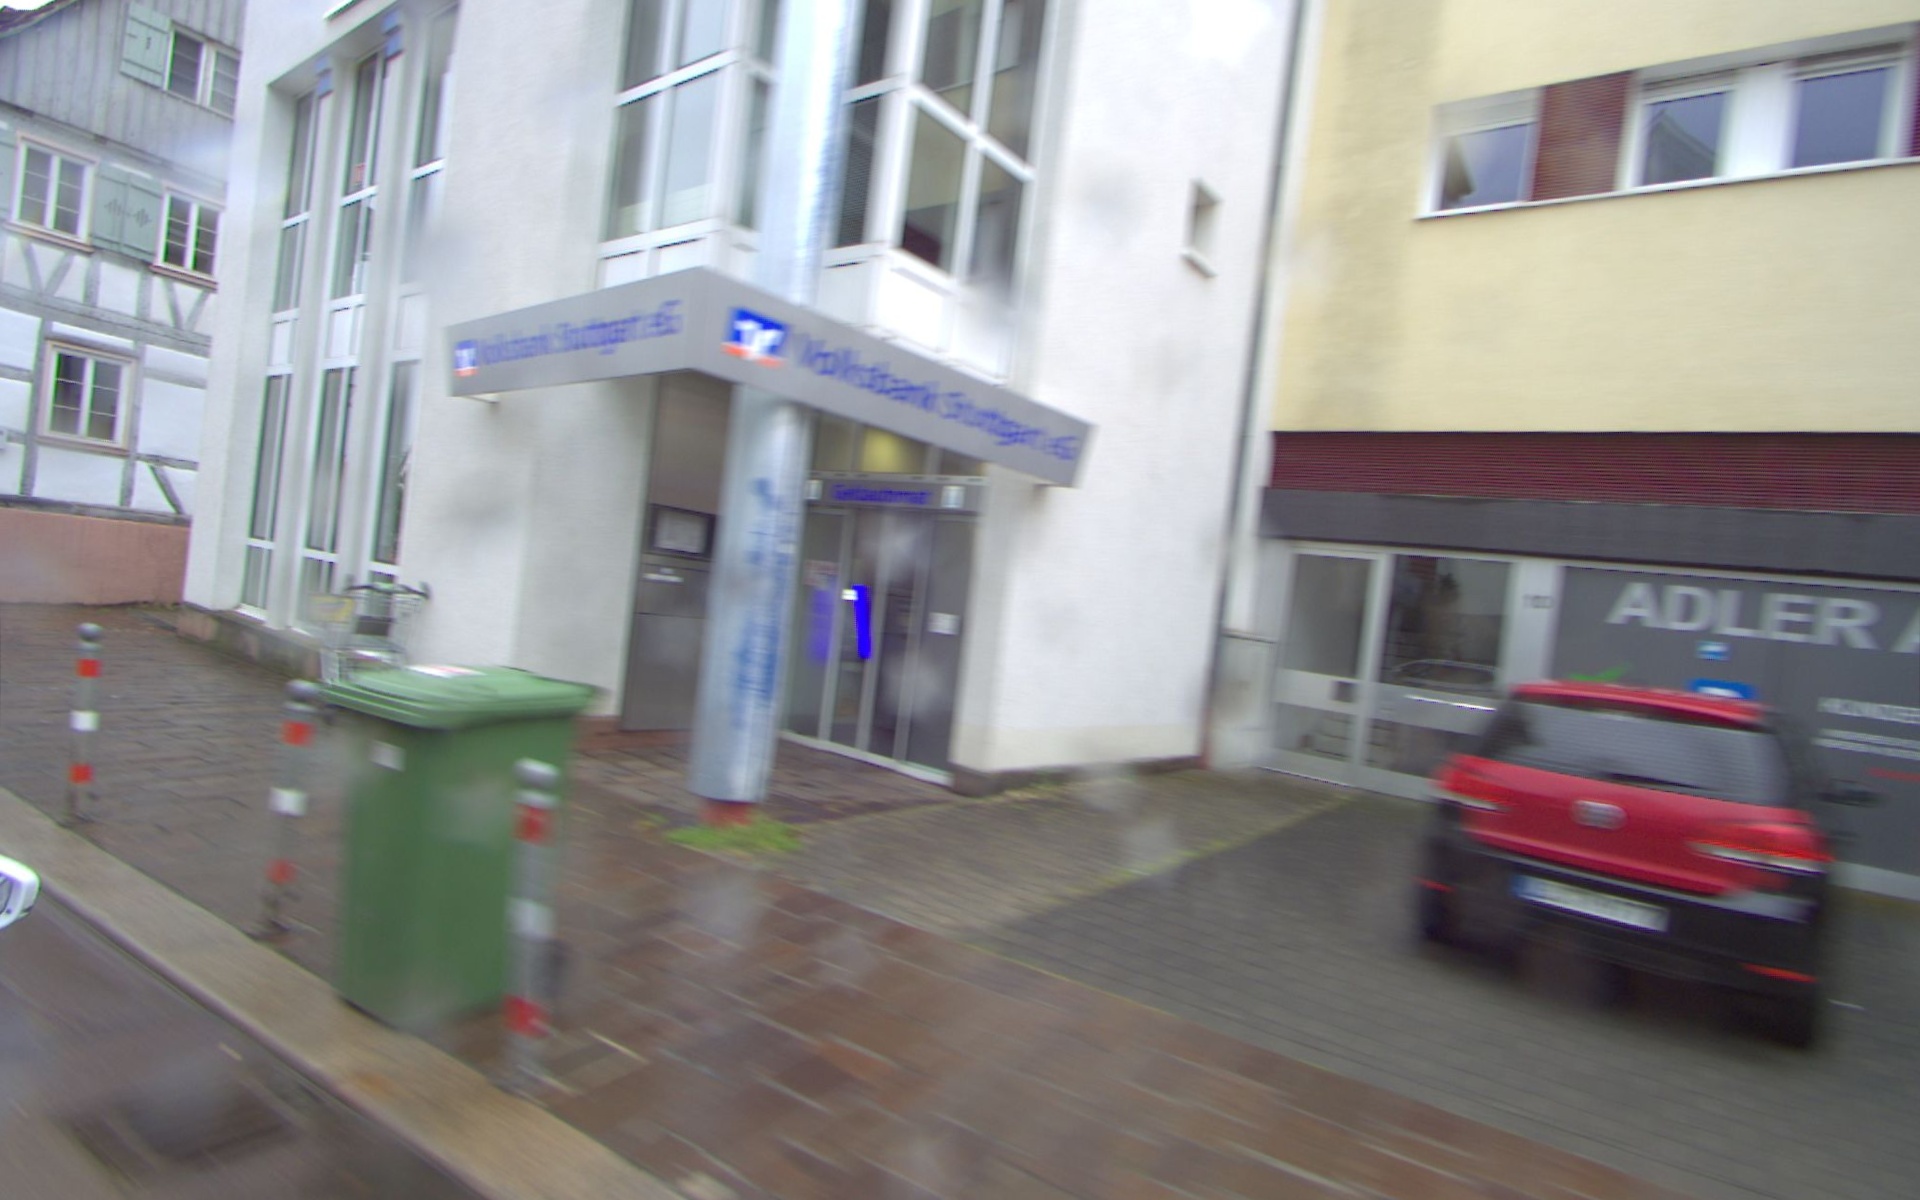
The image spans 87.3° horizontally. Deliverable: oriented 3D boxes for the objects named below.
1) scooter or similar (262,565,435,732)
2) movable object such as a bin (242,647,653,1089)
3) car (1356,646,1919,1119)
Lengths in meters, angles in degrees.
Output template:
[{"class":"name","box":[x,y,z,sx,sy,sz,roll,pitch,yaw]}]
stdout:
[{"class":"scooter or similar","box":[-4.936,0.370,8.093,1.425,1.160,0.664,5,-1,39]},{"class":"movable object such as a bin","box":[-1.684,0.785,3.359,0.848,1.145,0.805,6,0,30]},{"class":"car","box":[4.043,1.196,5.795,1.885,1.534,3.978,7,1,42]}]
